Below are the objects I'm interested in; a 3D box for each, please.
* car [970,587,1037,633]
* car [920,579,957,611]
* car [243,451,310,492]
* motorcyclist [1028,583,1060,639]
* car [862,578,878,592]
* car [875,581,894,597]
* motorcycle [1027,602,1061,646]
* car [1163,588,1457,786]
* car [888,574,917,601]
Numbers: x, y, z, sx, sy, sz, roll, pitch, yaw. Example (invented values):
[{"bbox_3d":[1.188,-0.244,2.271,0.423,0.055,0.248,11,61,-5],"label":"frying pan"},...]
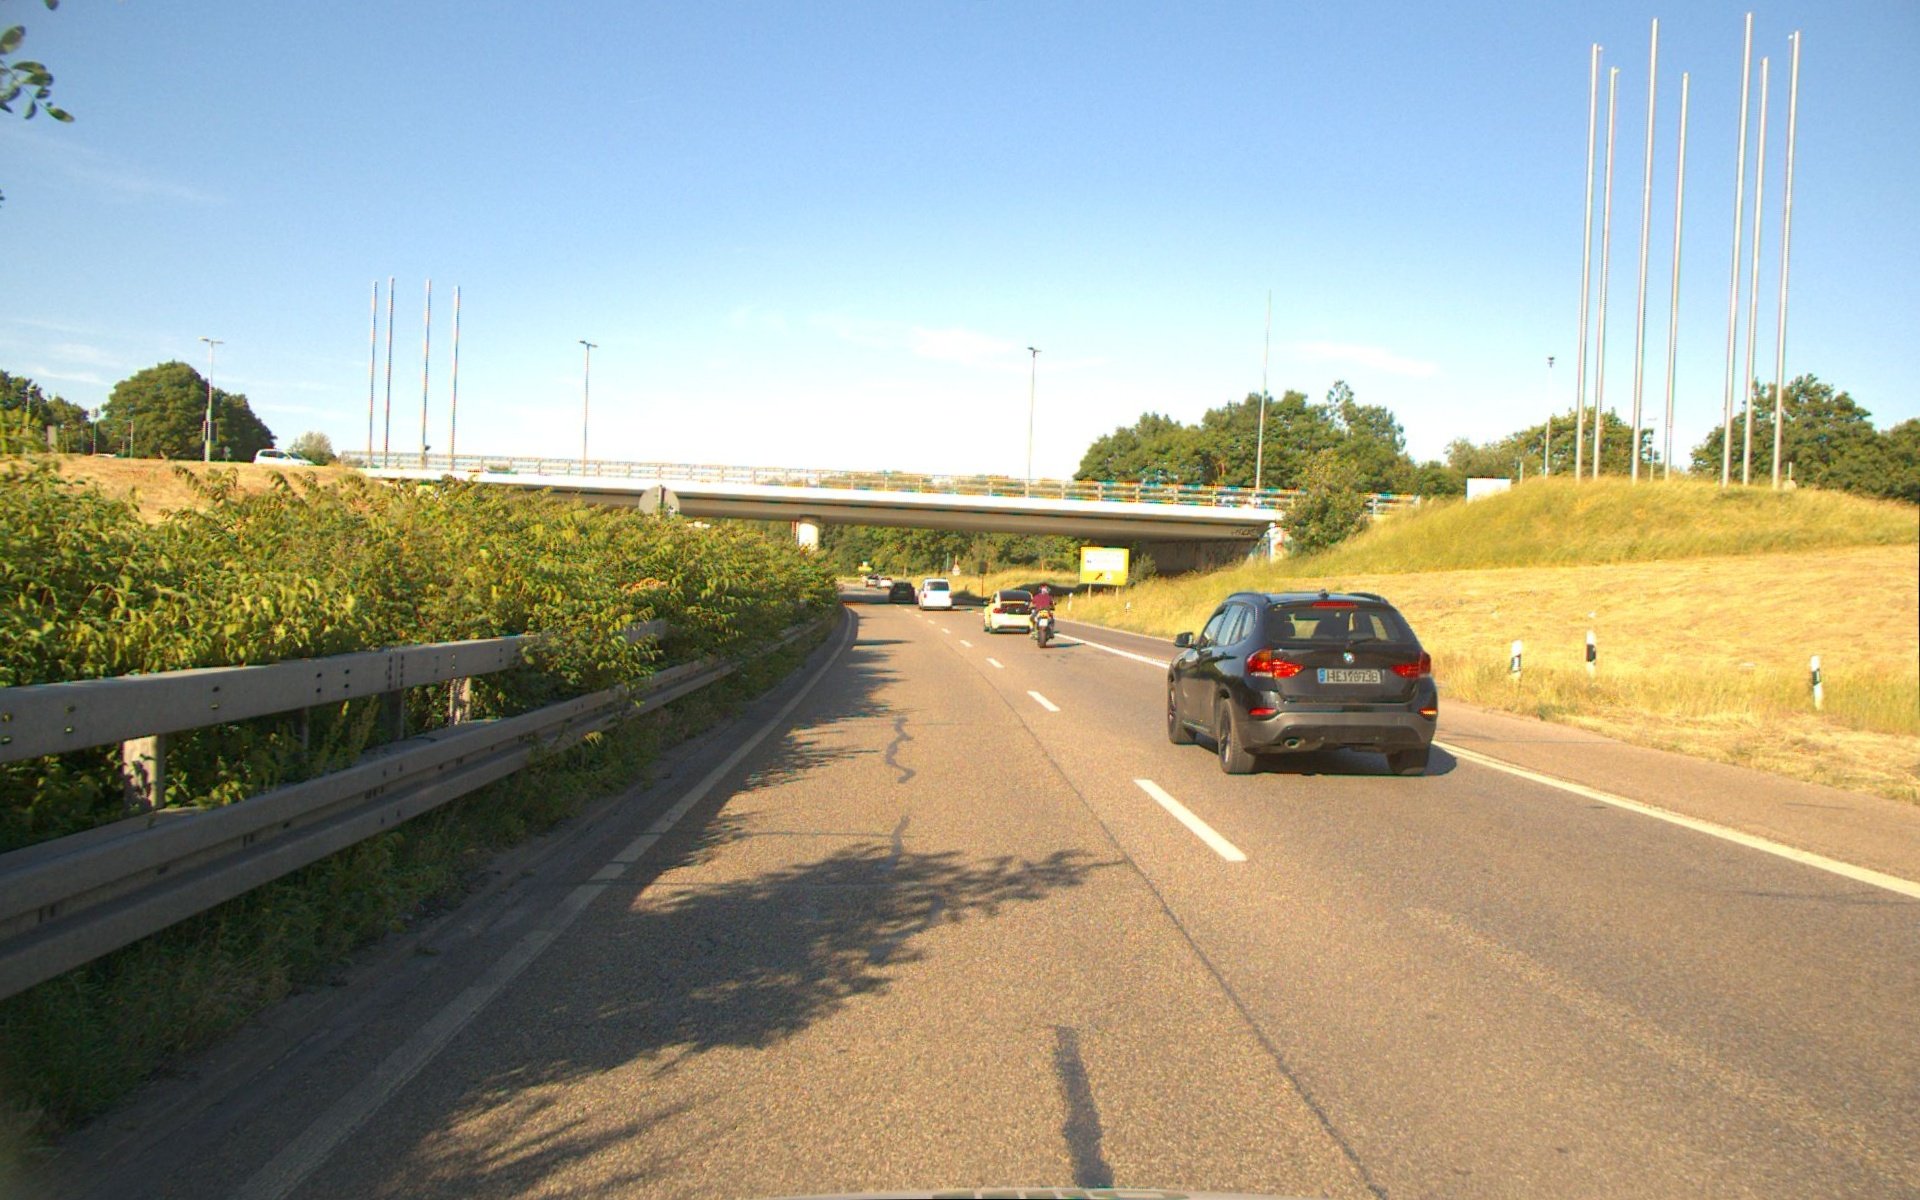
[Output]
[{"bbox_3d":[1.461,0.315,57.179,1.860,1.496,3.996,0,1,-5],"label":"car"},{"bbox_3d":[-1.266,-0.315,95.198,1.860,1.798,3.996,0,1,-5],"label":"car"},{"bbox_3d":[-50.325,-9.452,121.811,4.220,2.854,2.082,2,1,19],"label":"car"},{"bbox_3d":[2.248,0.293,44.506,0.800,1.472,1.094,1,1,0],"label":"motorcyclist"},{"bbox_3d":[-11.251,-1.872,206.310,1.832,1.714,3.996,2,0,-5],"label":"car"},{"bbox_3d":[-8.638,-1.257,188.660,1.833,1.714,3.995,2,0,-6],"label":"car"},{"bbox_3d":[2.246,0.621,44.416,0.800,1.088,2.836,1,1,1],"label":"motorcycle"},{"bbox_3d":[3.059,0.673,15.420,1.664,1.532,4.578,0,1,-1],"label":"car"},{"bbox_3d":[-4.064,-0.892,116.564,1.860,1.797,3.996,0,1,-5],"label":"car"}]
